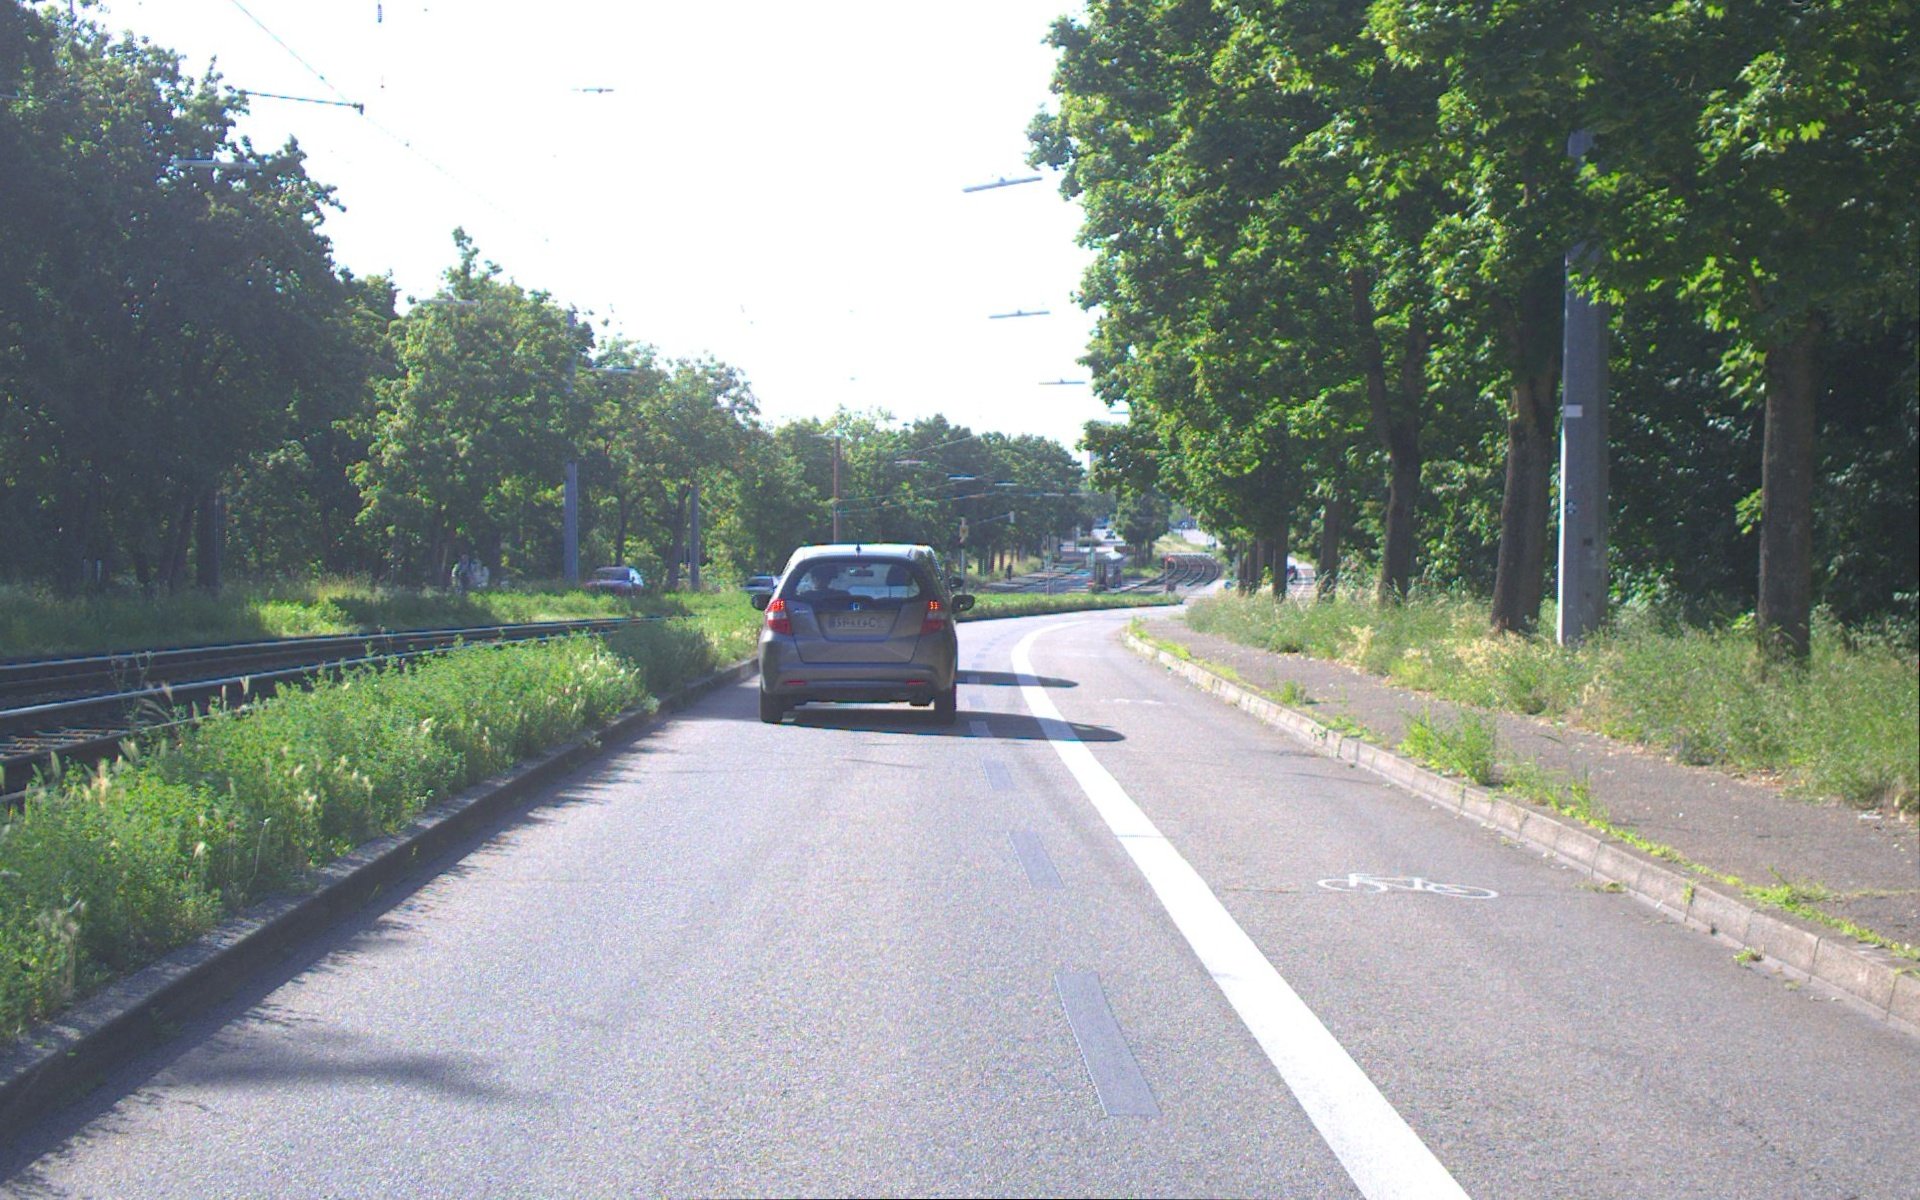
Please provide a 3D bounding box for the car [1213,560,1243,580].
[{"bbox_3d":[19.918,-2.236,255.262,1.655,1.308,3.809,3,3,12],"label":"car"}]

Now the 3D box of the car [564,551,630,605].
[{"bbox_3d":[-14.288,-0.898,135.632,1.994,1.869,4.000,2,3,2],"label":"car"}]

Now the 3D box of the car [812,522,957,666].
[{"bbox_3d":[-0.895,-0.110,42.330,1.654,1.502,3.812,2,3,0],"label":"car"}]

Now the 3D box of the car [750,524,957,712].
[{"bbox_3d":[-0.889,0.121,30.313,1.670,1.502,3.811,2,1,0],"label":"car"}]

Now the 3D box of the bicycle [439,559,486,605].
[{"bbox_3d":[-14.912,-0.537,103.043,0.789,1.191,3.169,2,3,2],"label":"bicycle"}]

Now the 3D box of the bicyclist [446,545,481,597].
[{"bbox_3d":[-14.895,-0.878,103.153,0.790,1.484,1.109,2,3,2],"label":"bicyclist"}]
